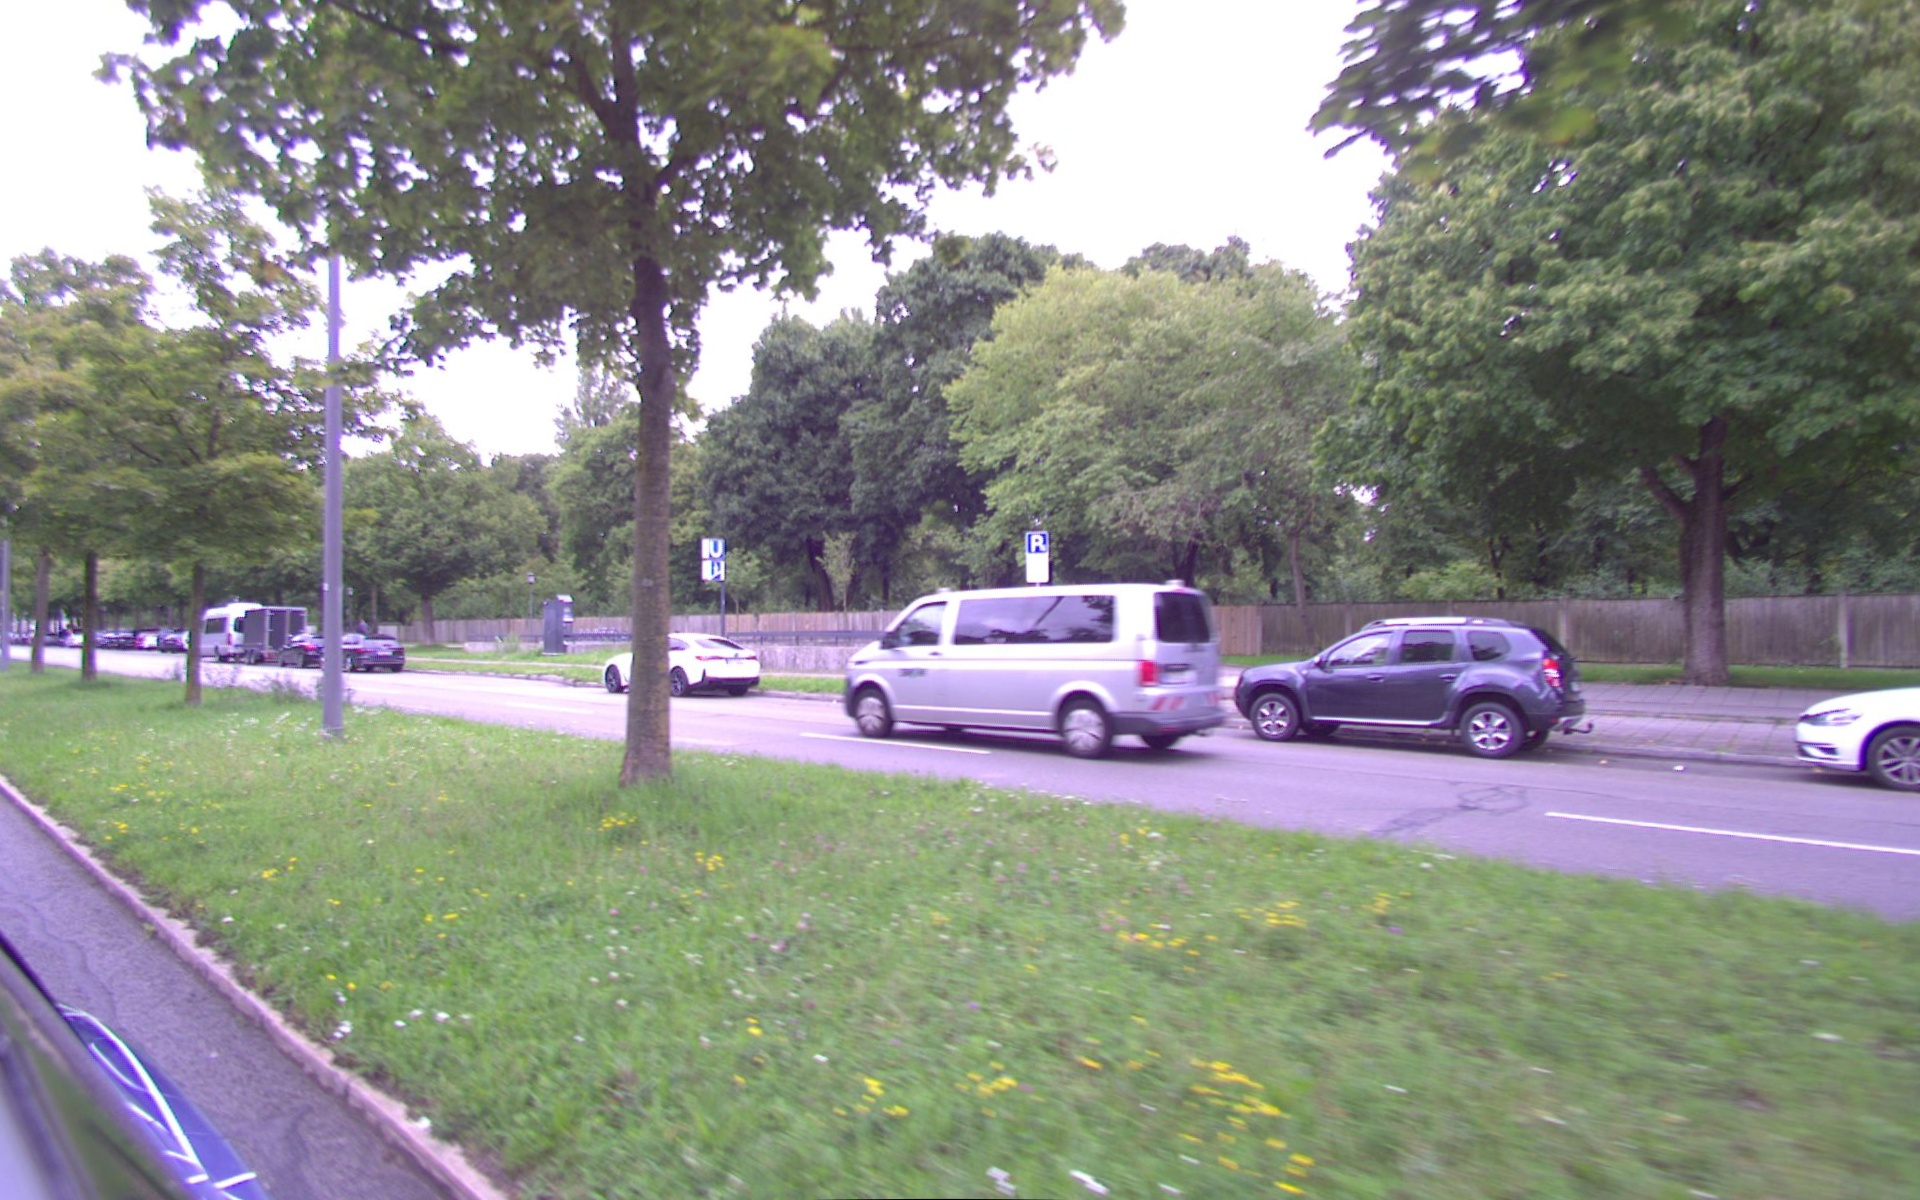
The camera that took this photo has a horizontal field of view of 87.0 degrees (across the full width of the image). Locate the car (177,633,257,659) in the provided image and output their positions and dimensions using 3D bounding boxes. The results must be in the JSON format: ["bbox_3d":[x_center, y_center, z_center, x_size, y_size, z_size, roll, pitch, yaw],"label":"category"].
[{"bbox_3d":[-48.528,2.982,66.198,1.780,1.449,4.315,-1,0,7],"label":"car"}]

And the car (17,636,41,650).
[{"bbox_3d":[-104.293,4.844,113.330,1.864,1.454,4.171,-1,-1,-45],"label":"car"}]

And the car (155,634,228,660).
[{"bbox_3d":[-53.517,3.251,70.572,1.780,1.497,3.992,-2,0,6],"label":"car"}]

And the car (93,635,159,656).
[{"bbox_3d":[-69.759,3.782,84.713,1.870,1.569,3.989,-2,0,9],"label":"car"}]

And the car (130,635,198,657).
[{"bbox_3d":[-62.308,3.568,79.257,1.723,1.466,3.983,-2,0,13],"label":"car"}]

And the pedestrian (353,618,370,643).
[{"bbox_3d":[-43.023,2.195,72.767,0.873,1.781,0.761,-2,-3,38],"label":"pedestrian"}]

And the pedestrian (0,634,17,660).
[{"bbox_3d":[-61.450,3.021,65.153,0.859,1.711,0.773,1,-2,-29],"label":"pedestrian"}]

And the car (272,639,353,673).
[{"bbox_3d":[-27.269,2.330,42.586,4.236,1.394,1.781,-2,-4,42],"label":"car"}]

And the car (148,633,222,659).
[{"bbox_3d":[-55.579,3.280,72.666,1.783,1.599,3.984,-2,0,12],"label":"car"}]

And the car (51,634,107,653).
[{"bbox_3d":[-86.198,4.238,99.040,1.760,1.741,3.992,-1,0,7],"label":"car"}]

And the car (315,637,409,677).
[{"bbox_3d":[-22.622,2.130,38.224,4.429,1.436,1.781,-2,-4,42],"label":"car"}]

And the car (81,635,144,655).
[{"bbox_3d":[-74.511,3.940,88.999,1.870,1.569,3.989,-2,0,9],"label":"car"}]

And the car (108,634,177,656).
[{"bbox_3d":[-65.070,3.568,80.633,1.873,1.569,3.983,-2,0,13],"label":"car"}]

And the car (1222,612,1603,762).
[{"bbox_3d":[5.808,1.057,13.313,4.253,1.658,1.719,-2,-4,41],"label":"car"}]

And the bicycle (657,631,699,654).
[{"bbox_3d":[-11.949,1.792,42.932,0.432,0.937,1.801,-2,-1,40],"label":"bicycle"}]

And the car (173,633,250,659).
[{"bbox_3d":[-50.952,3.104,68.987,1.780,1.585,4.315,-1,0,7],"label":"car"}]

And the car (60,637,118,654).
[{"bbox_3d":[-81.331,4.260,94.547,1.575,1.376,3.987,-1,0,11],"label":"car"}]

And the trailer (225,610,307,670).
[{"bbox_3d":[-31.863,1.855,46.417,4.657,2.610,1.995,-2,-4,42],"label":"trailer"}]

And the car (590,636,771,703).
[{"bbox_3d":[-6.866,1.629,24.548,4.872,1.484,1.837,-2,-4,41],"label":"car"}]

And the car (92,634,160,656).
[{"bbox_3d":[-67.404,3.620,81.854,1.870,1.569,3.989,-2,0,9],"label":"car"}]

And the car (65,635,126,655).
[{"bbox_3d":[-78.876,4.103,92.410,1.870,1.569,3.989,-2,0,9],"label":"car"}]

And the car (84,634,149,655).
[{"bbox_3d":[-72.063,3.812,86.524,1.870,1.569,3.989,-2,0,9],"label":"car"}]

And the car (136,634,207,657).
[{"bbox_3d":[-60.061,3.462,77.199,1.873,1.474,3.983,-2,0,13],"label":"car"}]

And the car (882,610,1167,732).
[{"bbox_3d":[0.974,1.149,17.301,4.816,1.796,1.795,-2,-4,42],"label":"car"}]

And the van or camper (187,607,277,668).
[{"bbox_3d":[-36.374,1.896,50.456,7.543,2.859,2.013,-2,-4,42],"label":"van or camper"}]

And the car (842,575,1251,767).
[{"bbox_3d":[0.890,0.799,12.605,4.991,1.948,1.781,-1,-3,41],"label":"car"}]

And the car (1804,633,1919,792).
[{"bbox_3d":[10.551,1.034,9.075,4.530,1.461,1.744,-2,-4,41],"label":"car"}]

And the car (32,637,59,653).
[{"bbox_3d":[-95.361,4.672,105.500,1.864,1.454,4.171,-1,-1,-45],"label":"car"}]
